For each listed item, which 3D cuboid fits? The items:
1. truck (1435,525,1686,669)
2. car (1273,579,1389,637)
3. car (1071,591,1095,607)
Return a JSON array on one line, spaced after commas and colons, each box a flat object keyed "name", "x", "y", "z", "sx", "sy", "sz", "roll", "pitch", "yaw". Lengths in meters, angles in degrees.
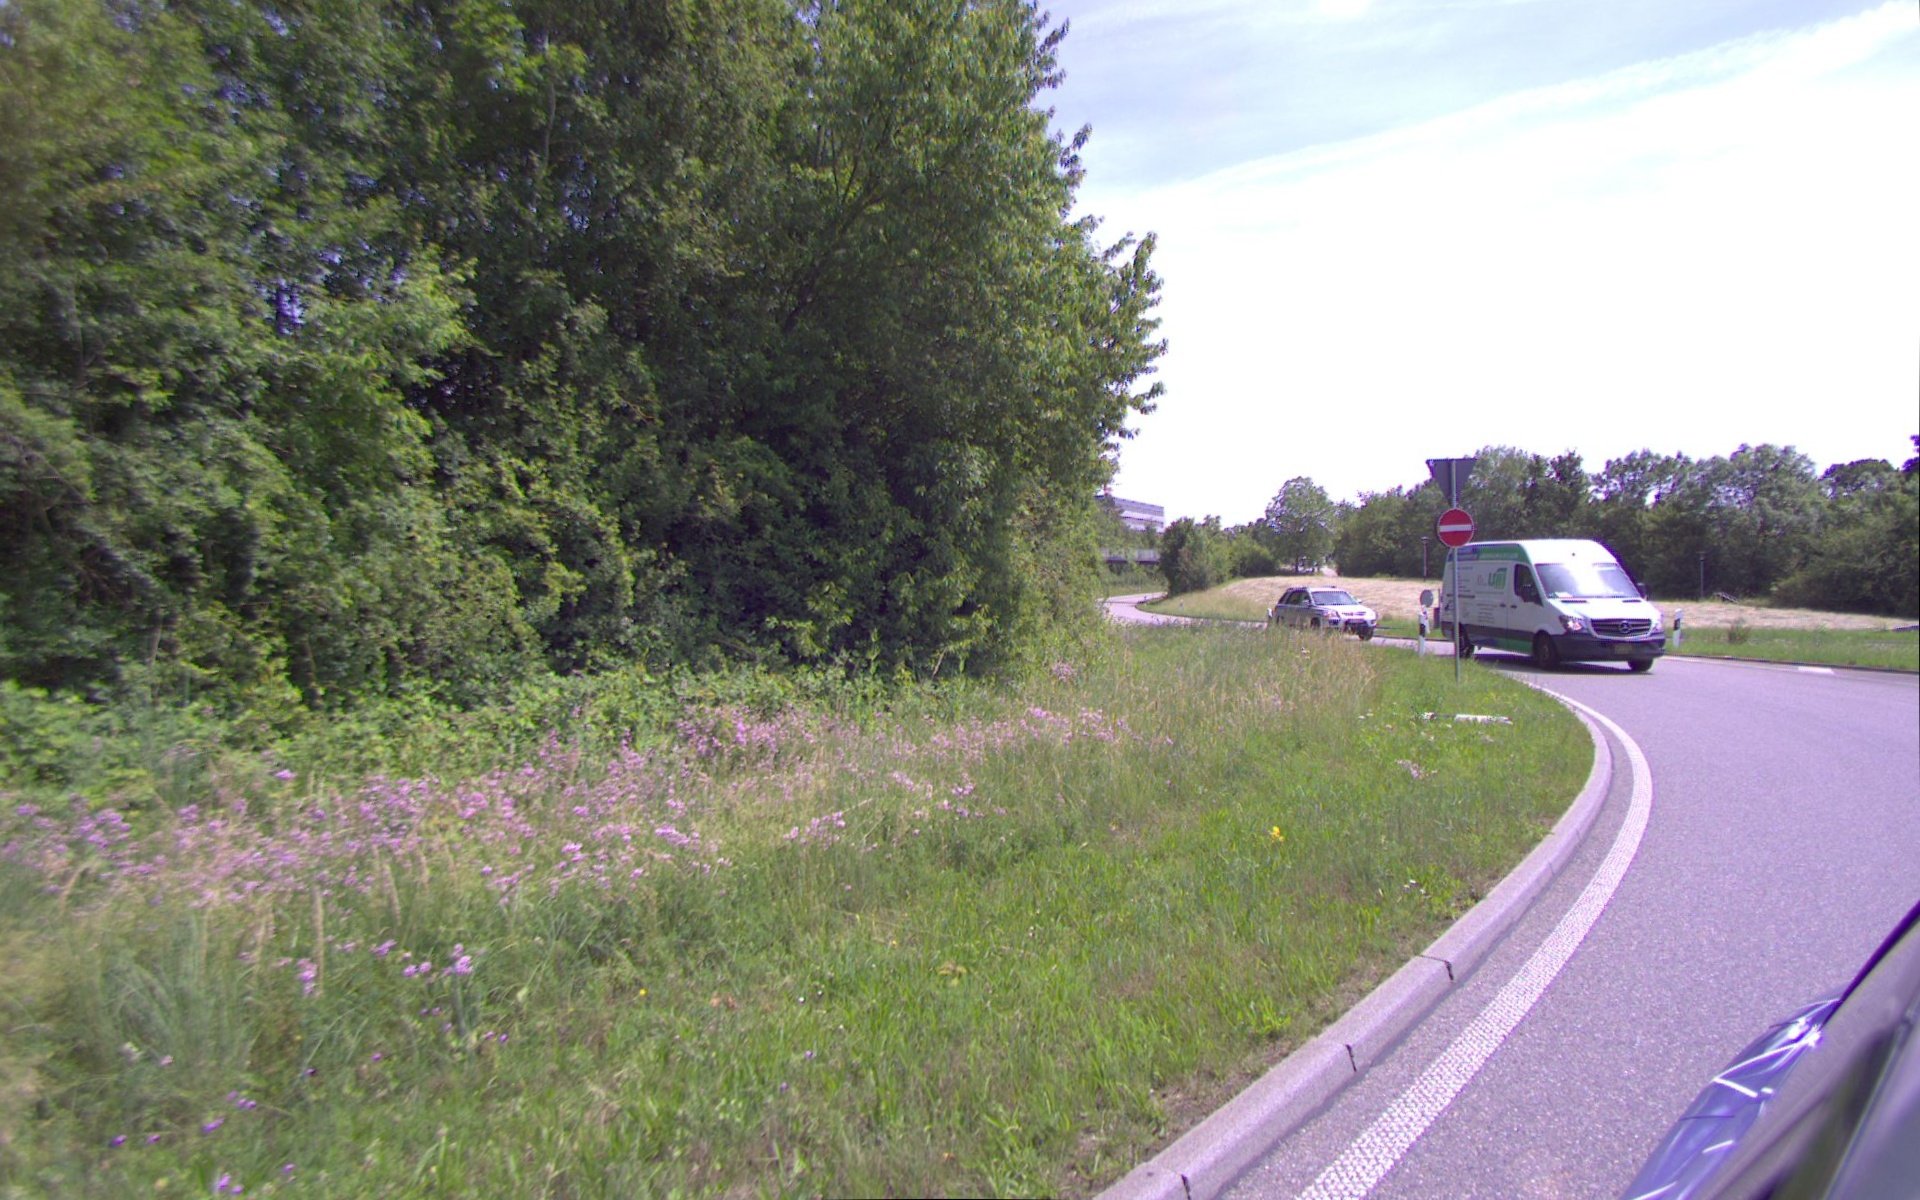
[{"name": "truck", "x": 12.331, "y": -0.097, "z": 21.394, "sx": 1.963, "sy": 2.618, "sz": 5.884, "roll": 0, "pitch": 1, "yaw": 2}, {"name": "car", "x": 11.969, "y": 0.246, "z": 32.951, "sx": 1.813, "sy": 1.730, "sz": 4.094, "roll": -1, "pitch": 0, "yaw": -7}, {"name": "car", "x": 11.525, "y": -0.055, "z": 95.125, "sx": 1.924, "sy": 1.440, "sz": 3.934, "roll": 1, "pitch": 0, "yaw": 2}]
